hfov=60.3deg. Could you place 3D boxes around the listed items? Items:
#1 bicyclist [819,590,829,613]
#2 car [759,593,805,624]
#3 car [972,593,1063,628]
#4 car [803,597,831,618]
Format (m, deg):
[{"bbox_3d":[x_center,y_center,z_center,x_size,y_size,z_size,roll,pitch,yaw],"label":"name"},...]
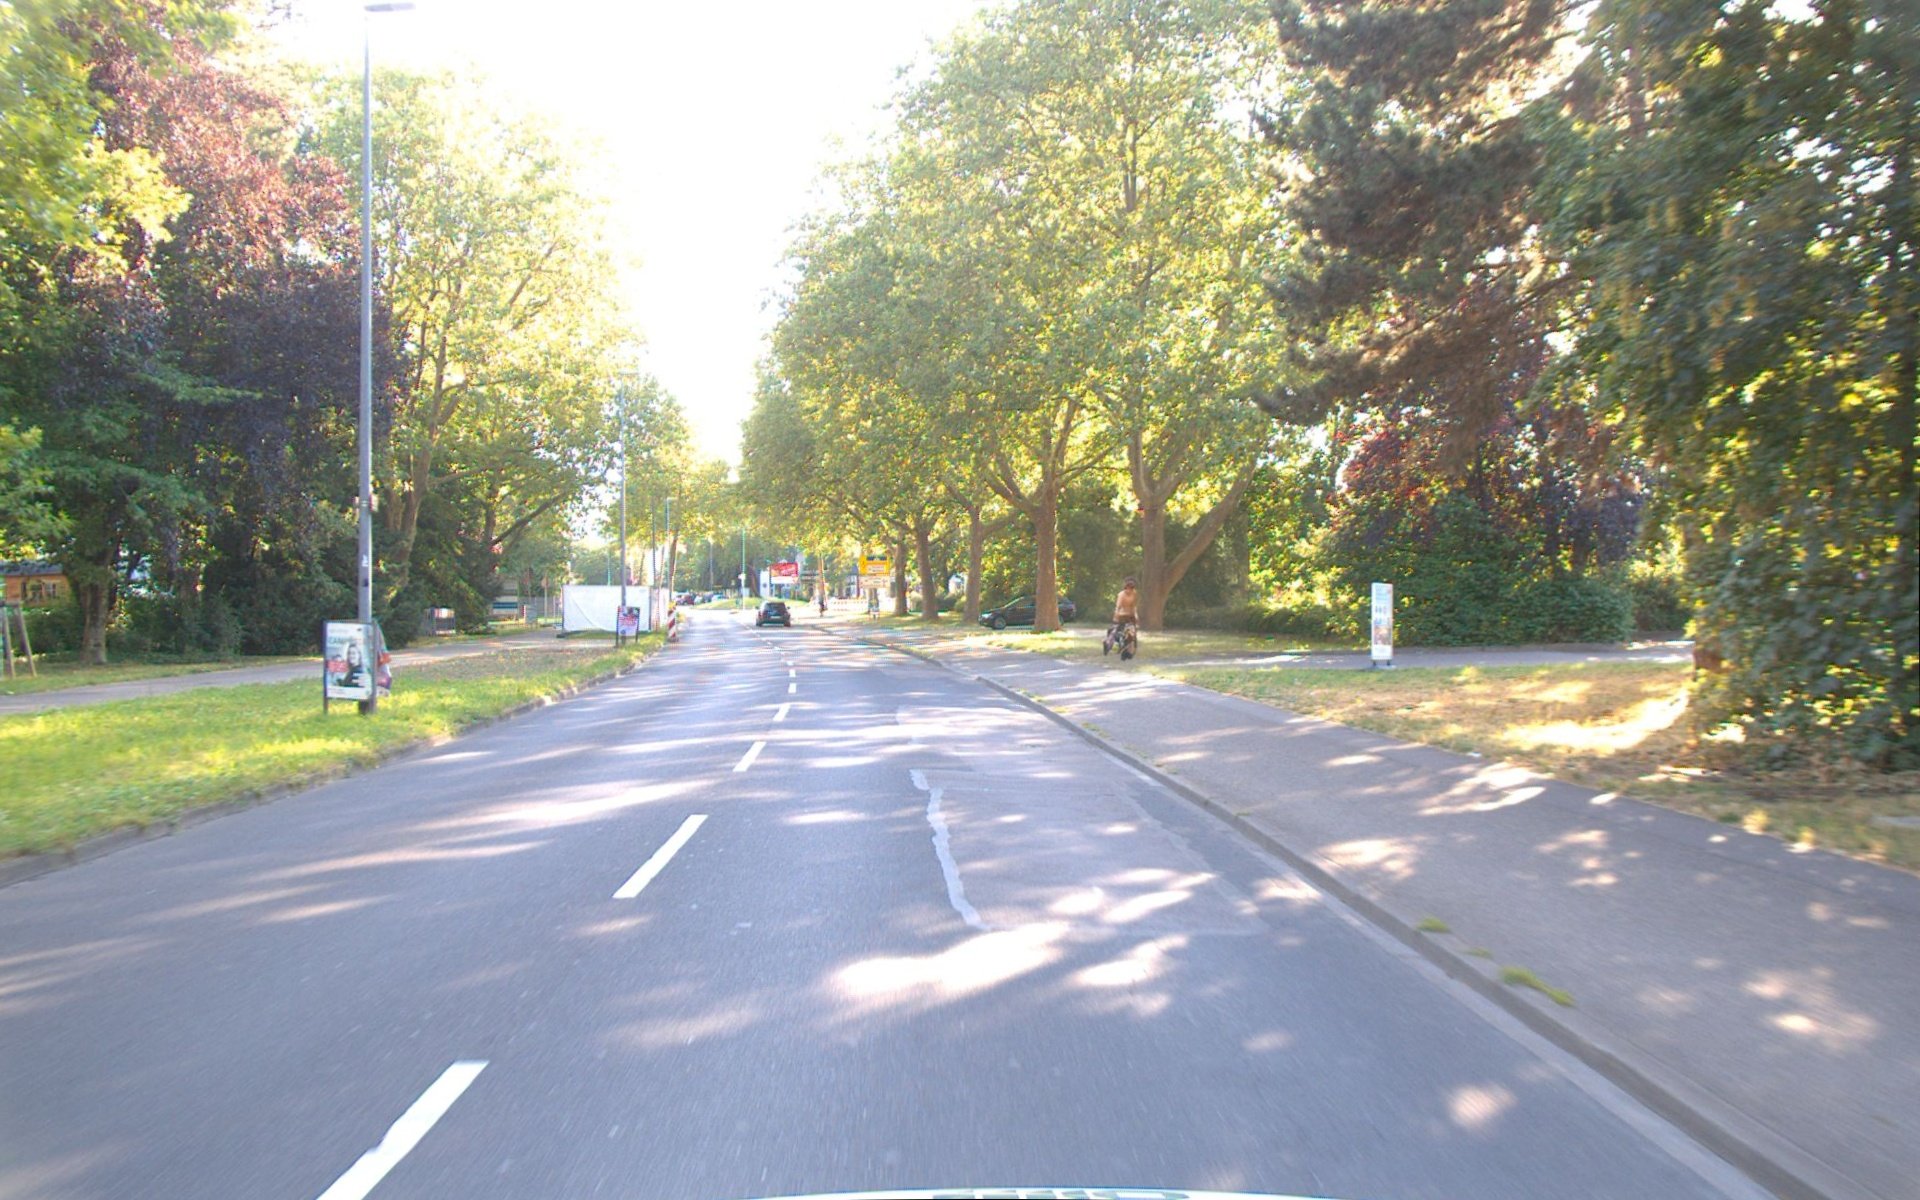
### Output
[{"bbox_3d":[-10.196,0.108,123.824,0.639,1.735,0.870,1,0,-8],"label":"bicyclist"},{"bbox_3d":[-9.806,0.467,91.260,1.800,1.633,3.865,-1,0,5],"label":"car"},{"bbox_3d":[2.592,0.476,75.329,3.910,1.468,1.758,-1,0,-6],"label":"car"},{"bbox_3d":[-14.357,0.783,165.855,1.951,2.049,4.003,0,0,8],"label":"car"}]
